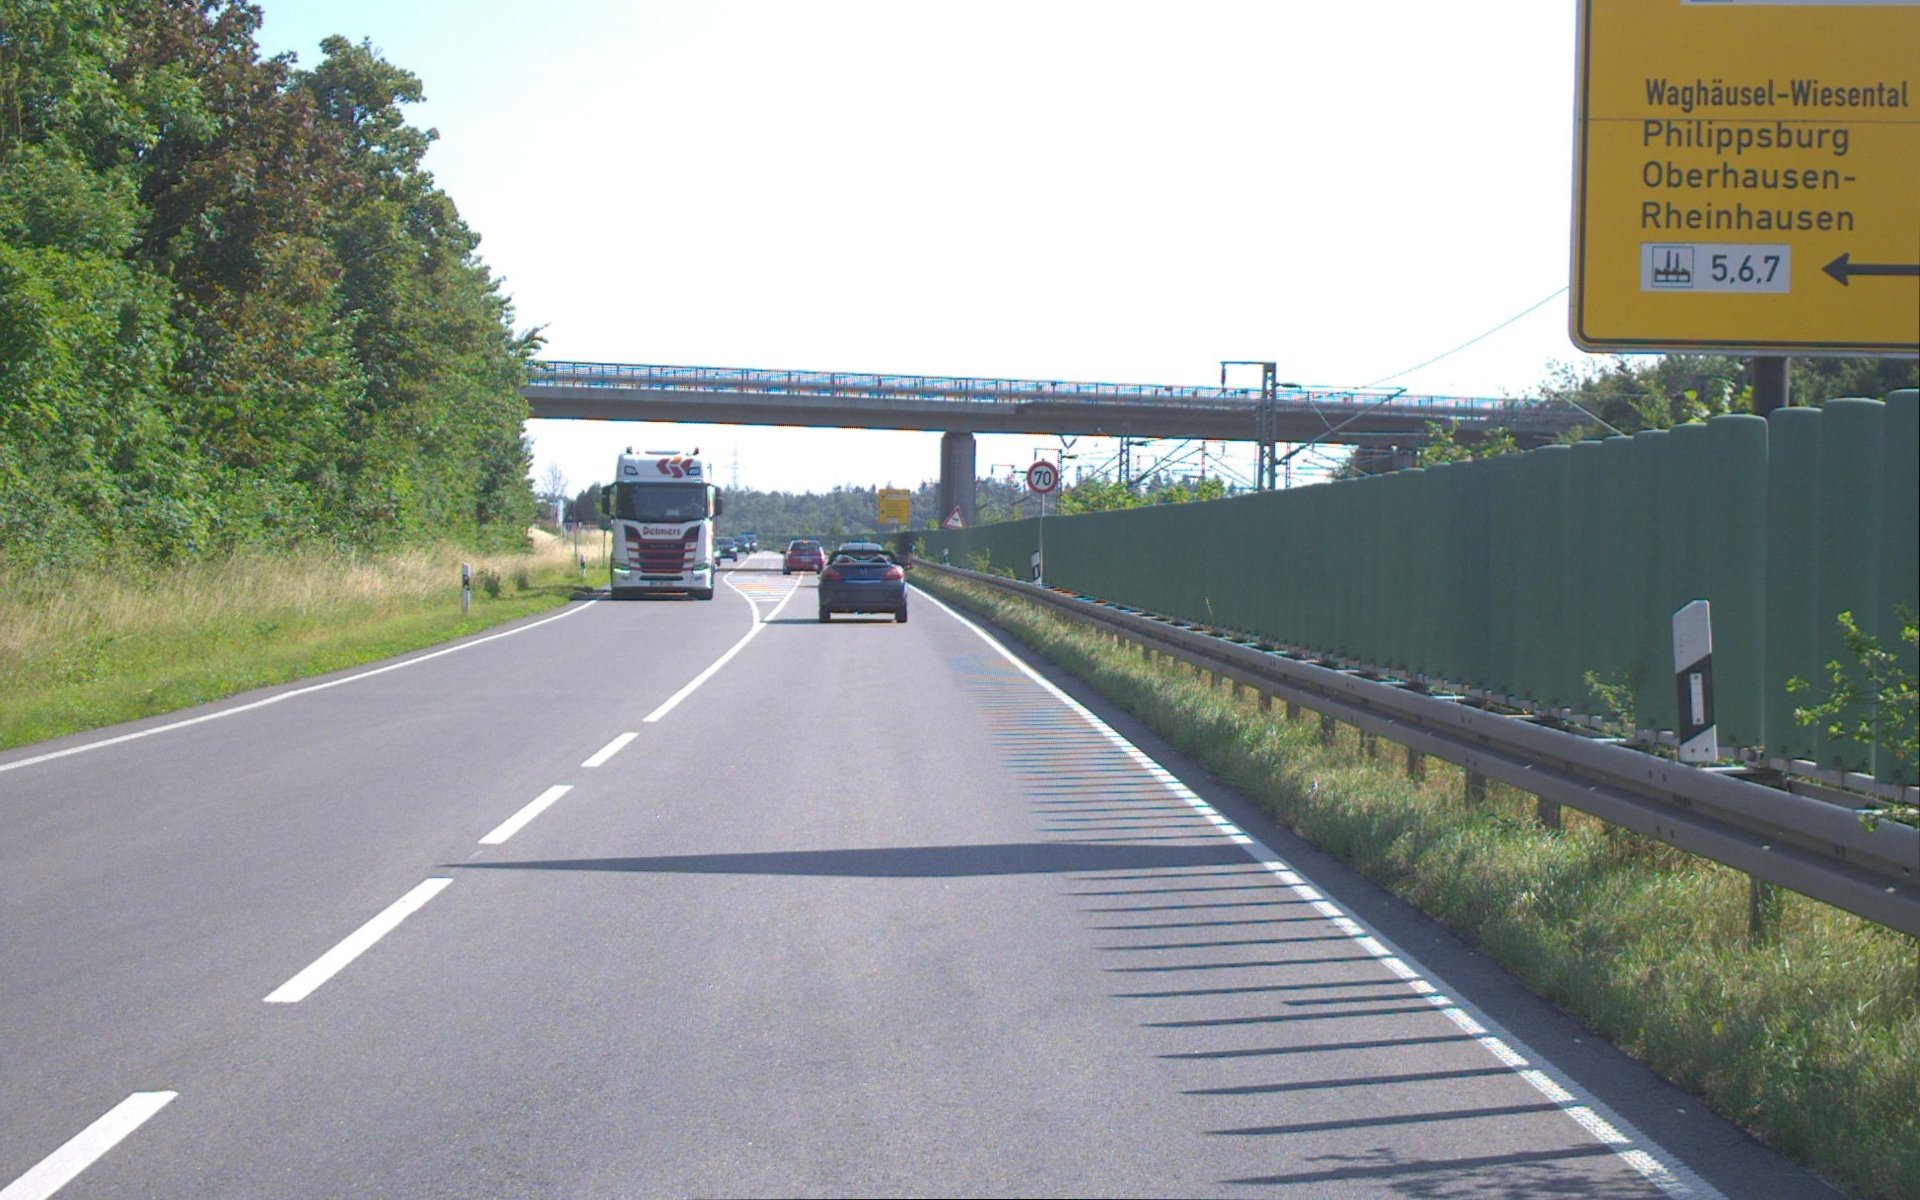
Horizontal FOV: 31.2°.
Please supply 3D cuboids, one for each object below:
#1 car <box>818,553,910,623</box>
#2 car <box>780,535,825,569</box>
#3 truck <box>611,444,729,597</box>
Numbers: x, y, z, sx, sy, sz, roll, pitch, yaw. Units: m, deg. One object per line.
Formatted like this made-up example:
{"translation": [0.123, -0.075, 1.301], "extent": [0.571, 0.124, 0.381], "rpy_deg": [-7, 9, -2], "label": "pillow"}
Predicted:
{"translation": [-1.820, -0.241, 64.483], "extent": [1.663, 1.257, 4.000], "rpy_deg": [1, 1, -2], "label": "car"}
{"translation": [-6.809, -2.074, 148.976], "extent": [1.895, 1.413, 4.000], "rpy_deg": [1, 1, -2], "label": "car"}
{"translation": [-7.413, -2.033, 88.893], "extent": [2.559, 3.676, 10.489], "rpy_deg": [1, 1, -2], "label": "truck"}
